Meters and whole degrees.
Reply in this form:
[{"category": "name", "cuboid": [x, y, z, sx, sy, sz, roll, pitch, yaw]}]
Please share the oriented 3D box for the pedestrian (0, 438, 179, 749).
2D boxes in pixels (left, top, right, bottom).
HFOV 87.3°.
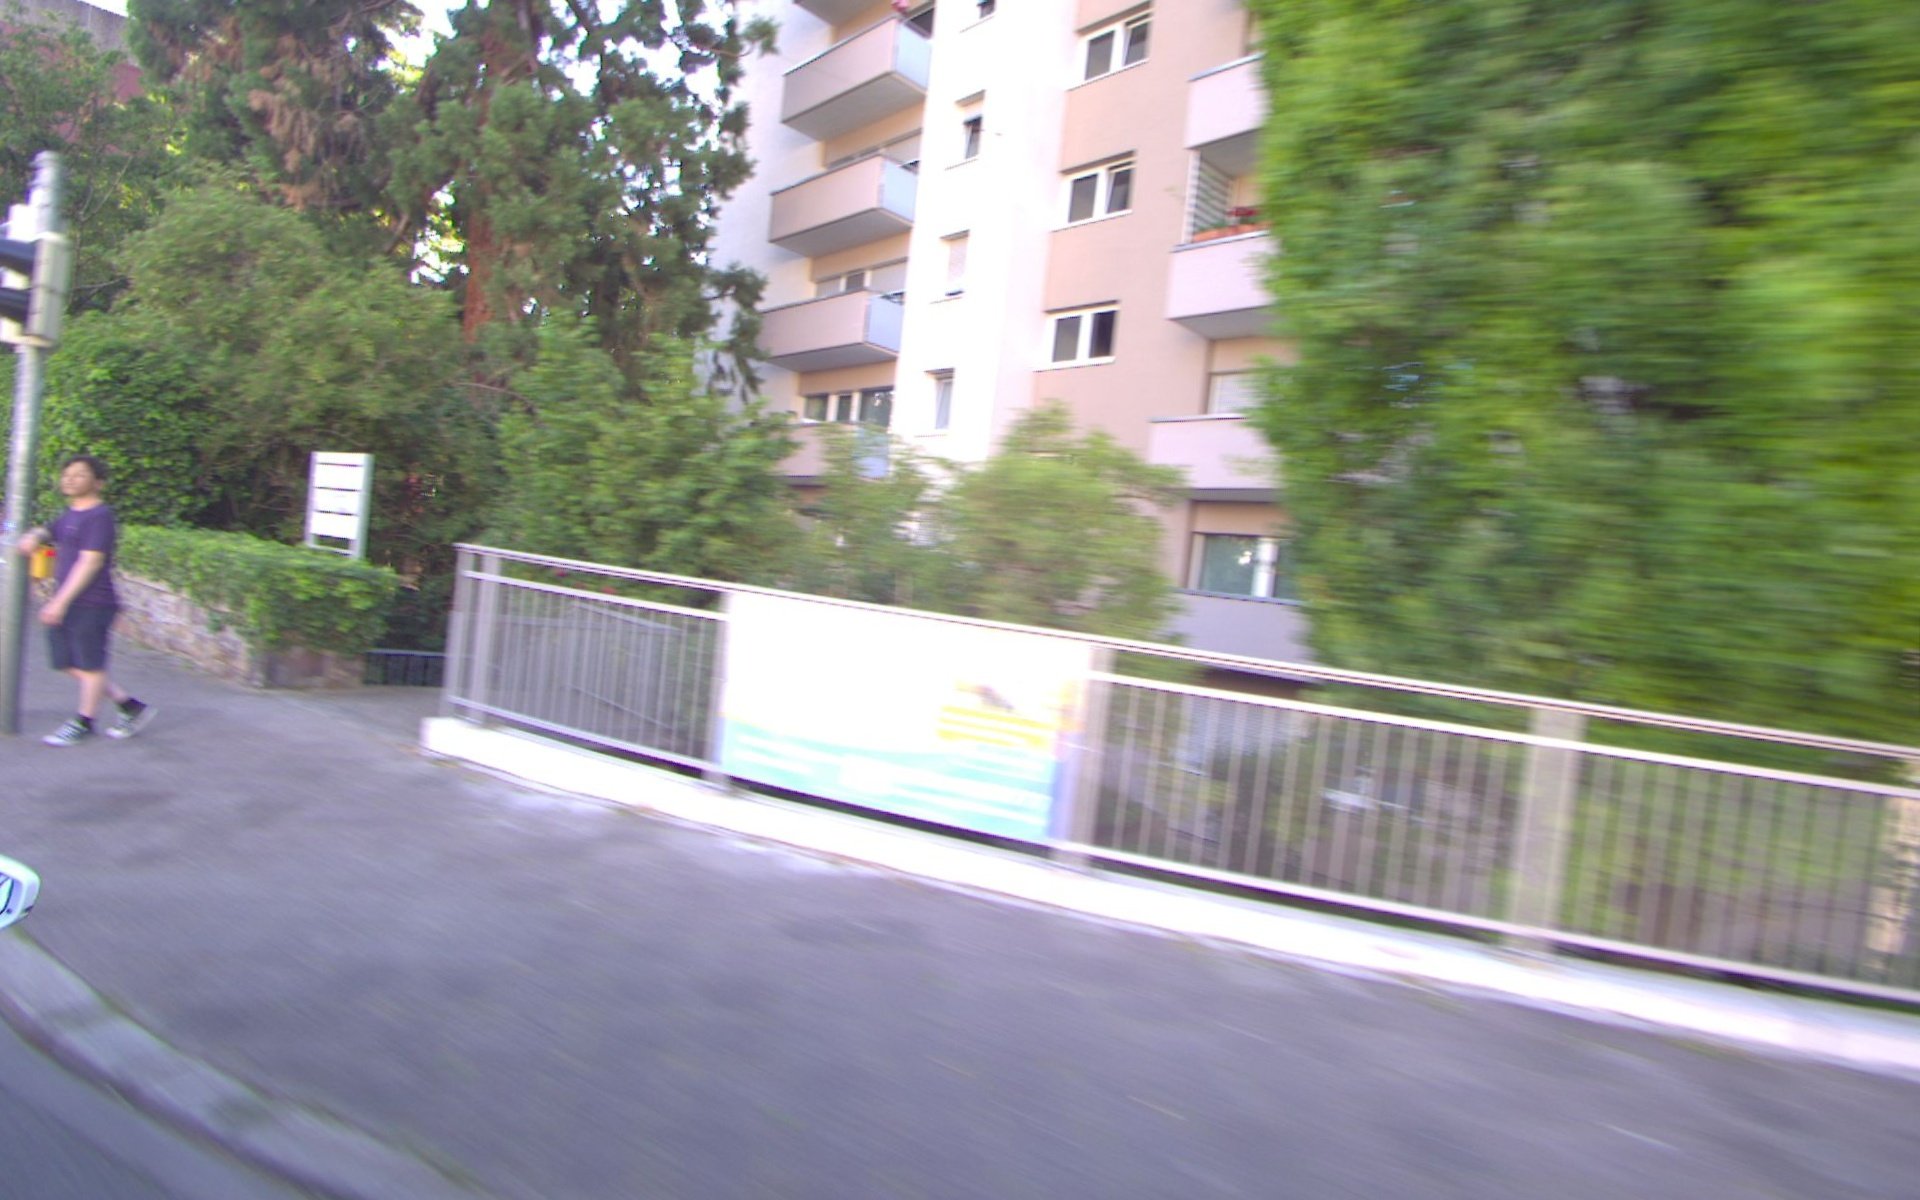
[{"category": "pedestrian", "cuboid": [-5.161, -0.042, 5.960, 0.602, 1.715, 0.602, 8, 3, 36]}]
